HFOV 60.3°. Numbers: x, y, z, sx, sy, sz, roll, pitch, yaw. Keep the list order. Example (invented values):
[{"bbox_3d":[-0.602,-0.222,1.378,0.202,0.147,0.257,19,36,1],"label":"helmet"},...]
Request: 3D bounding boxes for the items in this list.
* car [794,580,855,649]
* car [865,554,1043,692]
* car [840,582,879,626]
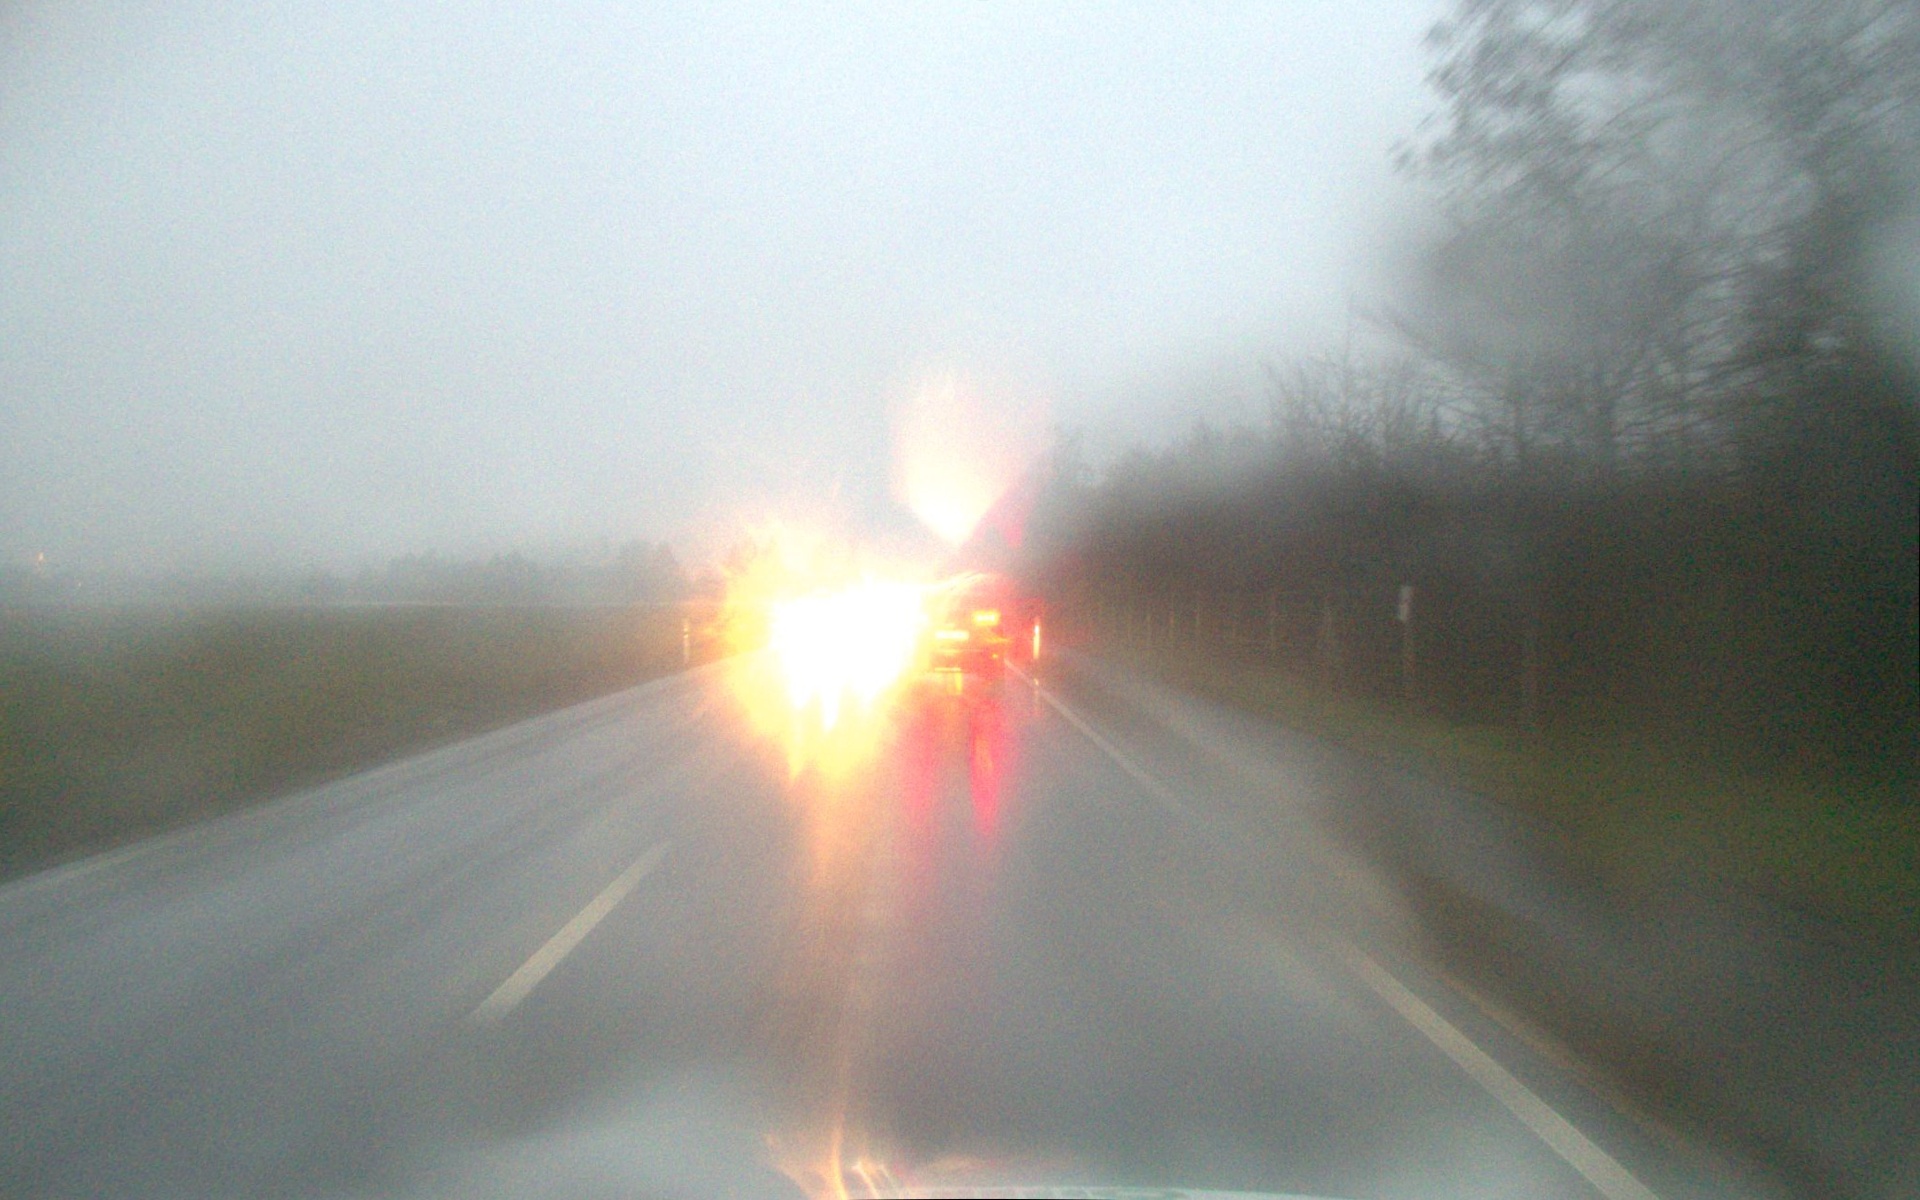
[{"bbox_3d":[-4.511,0.463,55.586,1.877,2.175,4.311,-1,0,-3],"label":"car"},{"bbox_3d":[-0.093,0.362,28.953,2.763,2.113,5.804,1,0,0],"label":"car"},{"bbox_3d":[-5.171,0.206,85.526,1.877,2.175,4.311,-1,0,-3],"label":"car"}]
